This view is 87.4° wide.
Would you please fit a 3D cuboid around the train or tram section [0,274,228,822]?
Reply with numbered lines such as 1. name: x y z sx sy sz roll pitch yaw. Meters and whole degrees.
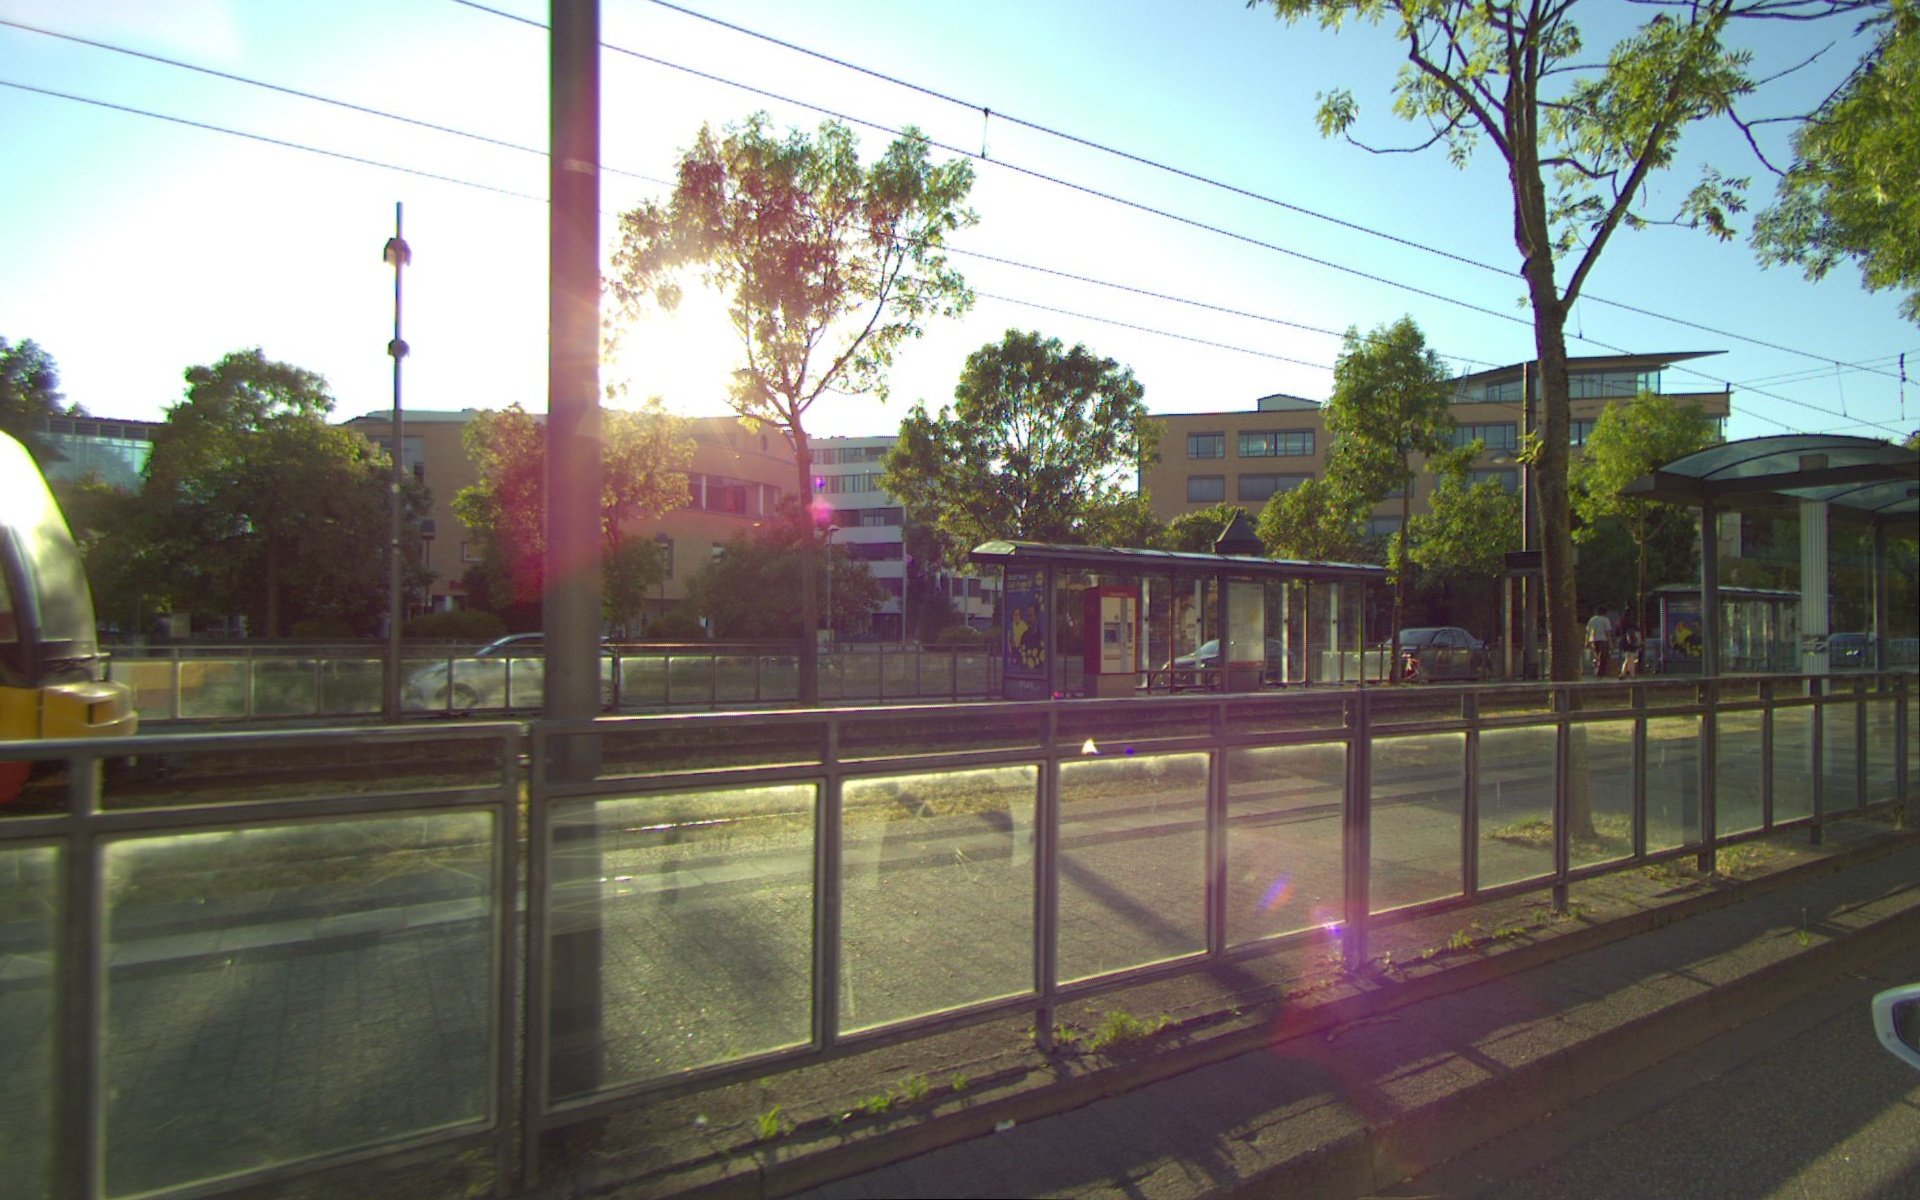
1. train or tram section: -11.953 -0.453 4.473 13.702 3.383 3.413 2 -2 -32

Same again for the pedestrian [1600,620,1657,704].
1. pedestrian: 16.485 1.509 24.776 1.113 2.040 0.766 1 -1 -29

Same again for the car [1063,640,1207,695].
1. car: 4.580 1.704 26.158 3.651 1.315 1.531 1 -1 -34

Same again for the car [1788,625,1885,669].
1. car: 35.094 1.867 40.192 3.955 1.675 1.850 1 -1 -32

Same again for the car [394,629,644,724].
1. car: -7.982 1.318 18.260 3.955 1.528 1.852 1 -1 -31

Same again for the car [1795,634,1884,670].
1. car: 38.603 2.279 44.084 4.293 1.434 1.784 2 0 -32

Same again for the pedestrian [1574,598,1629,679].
1. pedestrian: 16.530 0.978 25.871 1.113 2.040 0.766 1 -1 -29

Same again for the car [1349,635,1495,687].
1. car: 12.744 1.643 27.662 3.952 1.315 1.686 1 -1 -29
